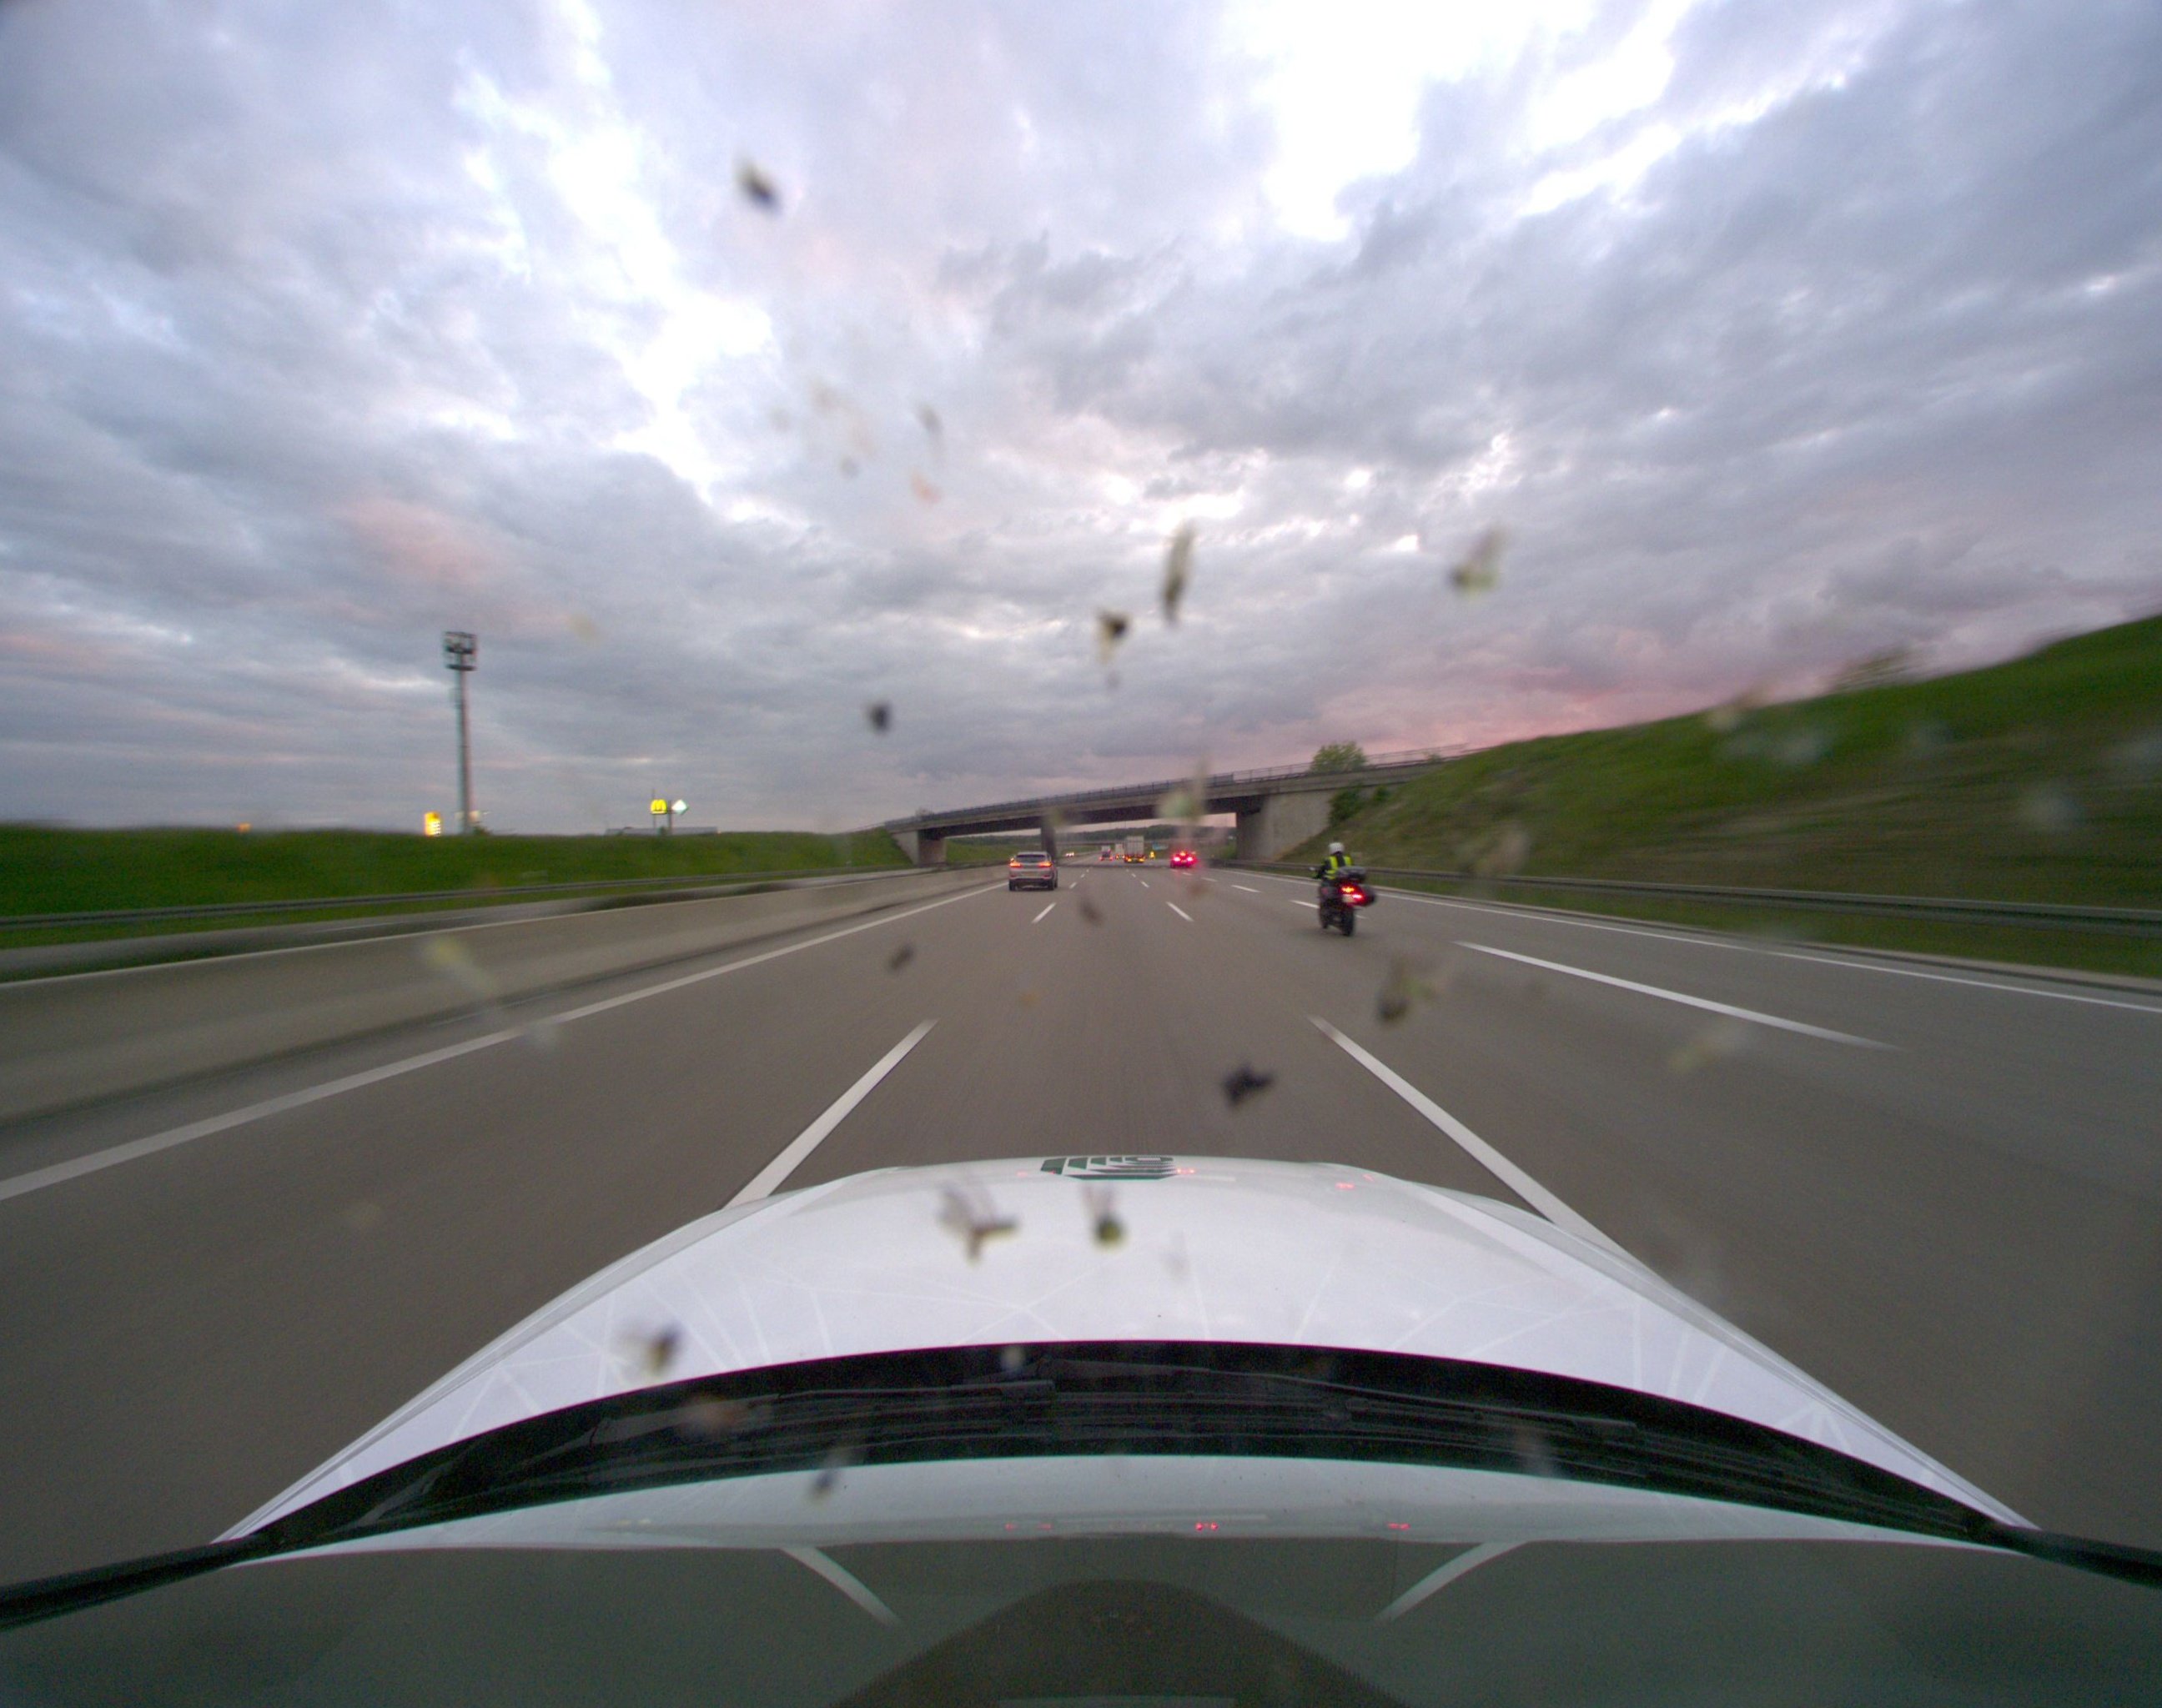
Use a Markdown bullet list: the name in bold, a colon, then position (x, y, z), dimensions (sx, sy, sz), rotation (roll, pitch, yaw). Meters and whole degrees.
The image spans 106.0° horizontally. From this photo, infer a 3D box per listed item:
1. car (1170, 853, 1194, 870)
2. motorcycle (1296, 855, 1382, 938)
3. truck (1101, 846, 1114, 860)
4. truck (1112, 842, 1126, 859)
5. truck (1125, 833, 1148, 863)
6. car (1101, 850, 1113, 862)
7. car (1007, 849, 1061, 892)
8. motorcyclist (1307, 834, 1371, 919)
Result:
- **car**: position (9.641, 0.690, 77.865), dimensions (1.911, 1.579, 4.001), rotation (-1, 0, 1)
- **motorcycle**: position (4.692, 0.721, 15.004), dimensions (0.898, 1.346, 2.350), rotation (-1, 1, 2)
- **truck**: position (6.311, -0.244, 192.286), dimensions (2.941, 3.217, 8.408), rotation (0, 1, 1)
- **truck**: position (10.183, -0.911, 216.686), dimensions (3.513, 4.345, 8.408), rotation (0, 1, 1)
- **truck**: position (8.212, -0.894, 121.409), dimensions (3.221, 4.227, 9.604), rotation (0, 1, 2)
- **car**: position (5.605, 0.415, 175.874), dimensions (2.508, 2.391, 6.497), rotation (-1, 0, 1)
- **car**: position (-1.955, 0.658, 35.634), dimensions (1.845, 1.692, 5.514), rotation (-1, 0, 2)
- **motorcyclist**: position (4.684, 0.387, 14.846), dimensions (0.862, 1.487, 1.169), rotation (0, 0, 3)
